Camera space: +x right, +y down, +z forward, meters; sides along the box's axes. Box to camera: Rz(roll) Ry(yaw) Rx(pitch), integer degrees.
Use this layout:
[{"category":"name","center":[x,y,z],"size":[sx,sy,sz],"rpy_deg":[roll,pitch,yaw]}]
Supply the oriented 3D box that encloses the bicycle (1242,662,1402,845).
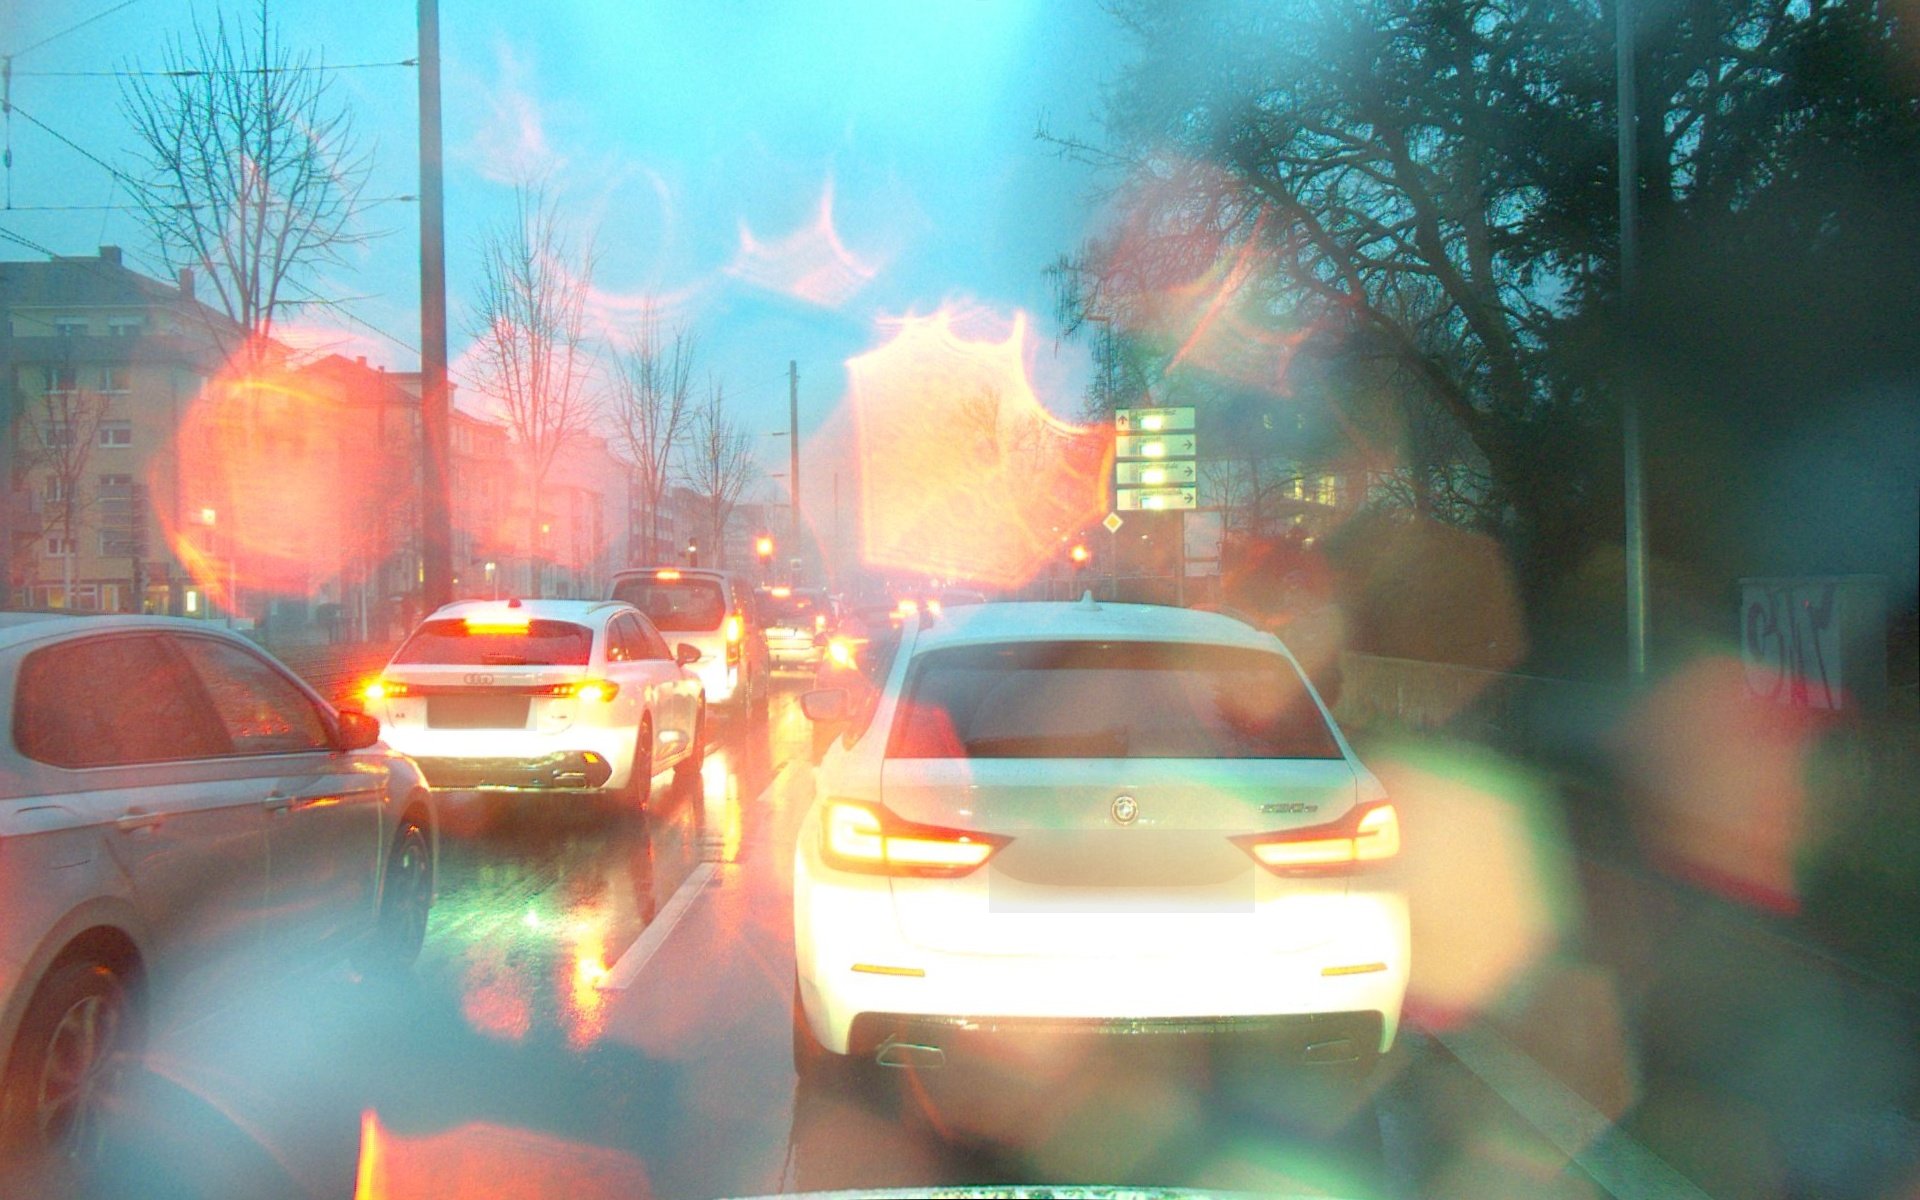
[{"category":"bicycle","center":[2.318,0.948,10.823],"size":[0.632,0.983,2.047],"rpy_deg":[-1,0,1]}]

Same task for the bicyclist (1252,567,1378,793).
[{"category":"bicyclist","center":[2.309,0.499,10.841],"size":[0.632,1.413,0.890],"rpy_deg":[-1,0,1]}]

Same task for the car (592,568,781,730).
[{"category":"car","center":[-3.248,0.542,20.468],"size":[1.757,1.766,4.535],"rpy_deg":[0,0,-3]}]

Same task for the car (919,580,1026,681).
[{"category":"car","center":[0.185,0.493,29.491],"size":[1.770,1.674,3.999],"rpy_deg":[0,0,-1]}]

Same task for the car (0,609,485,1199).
[{"category":"car","center":[-2.871,0.740,5.165],"size":[1.727,1.395,3.980],"rpy_deg":[0,0,-2]}]

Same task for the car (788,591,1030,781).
[{"category":"car","center":[-0.428,0.665,15.092],"size":[1.896,1.483,4.162],"rpy_deg":[0,0,-1]}]

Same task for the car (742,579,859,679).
[{"category":"car","center":[-2.796,0.476,29.776],"size":[1.770,1.674,3.999],"rpy_deg":[0,0,-1]}]

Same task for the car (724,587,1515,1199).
[{"category":"car","center":[0.371,0.724,6.173],"size":[1.958,1.534,4.162],"rpy_deg":[0,0,-1]}]

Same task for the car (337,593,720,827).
[{"category":"car","center":[-2.984,0.682,12.484],"size":[1.809,1.430,4.612],"rpy_deg":[0,0,-2]}]
